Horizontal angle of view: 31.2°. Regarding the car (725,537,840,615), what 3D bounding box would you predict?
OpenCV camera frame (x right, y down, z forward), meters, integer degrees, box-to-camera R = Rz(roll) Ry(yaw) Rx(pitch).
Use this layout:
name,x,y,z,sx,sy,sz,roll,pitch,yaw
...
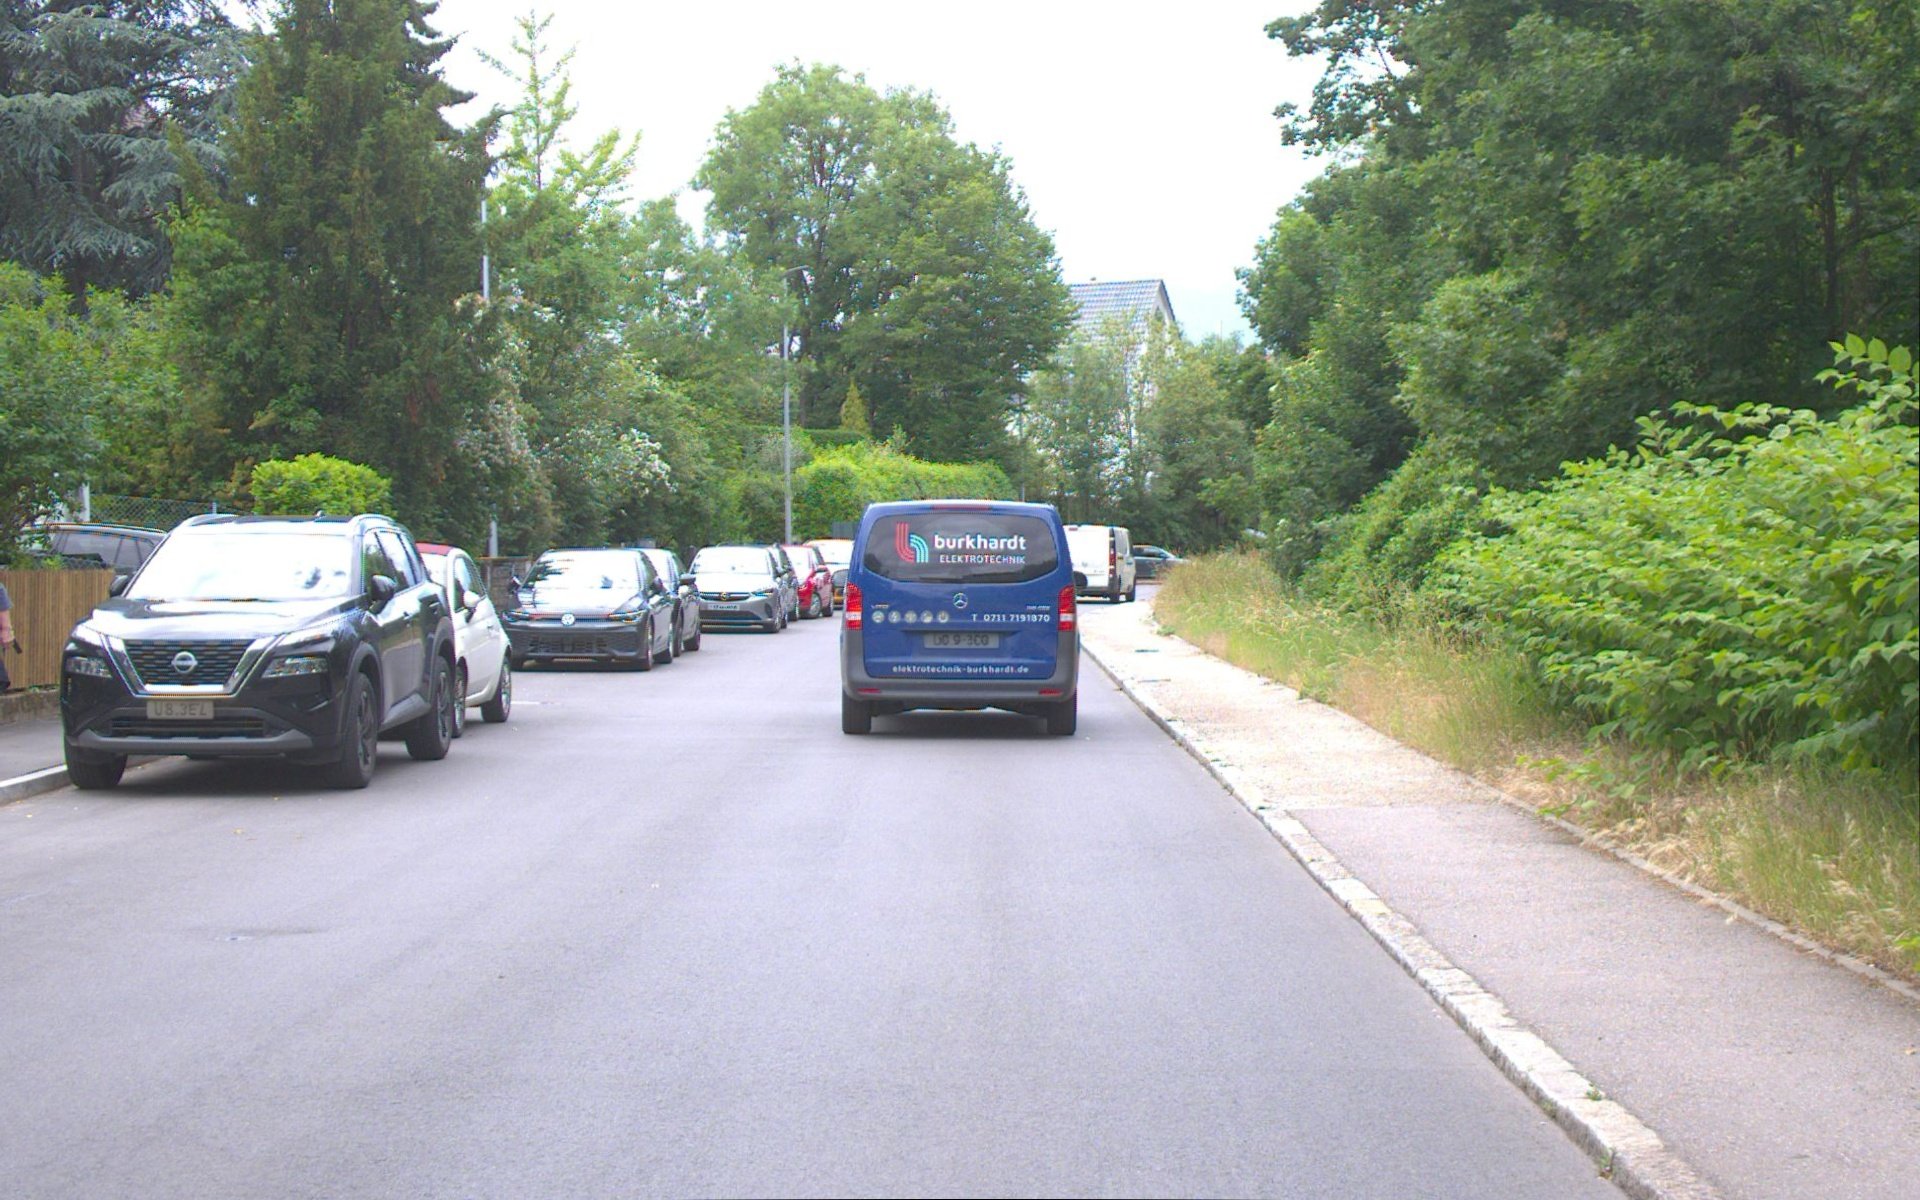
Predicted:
name,x,y,z,sx,sy,sz,roll,pitch,yaw
car,-3.532,-0.516,69.174,1.707,1.509,4.363,0,1,5

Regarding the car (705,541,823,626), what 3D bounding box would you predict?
name,x,y,z,sx,sy,sz,roll,pitch,yaw
car,-3.614,-0.330,63.966,1.707,1.509,4.495,0,1,3

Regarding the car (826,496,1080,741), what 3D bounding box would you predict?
name,x,y,z,sx,sy,sz,roll,pitch,yaw
car,-0.090,0.094,28.585,1.936,1.873,4.531,0,1,-1

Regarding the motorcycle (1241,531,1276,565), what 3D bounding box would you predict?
name,x,y,z,sx,sy,sz,roll,pitch,yaw
motorcycle,13.424,-2.328,154.534,0.810,1.480,2.893,1,1,21

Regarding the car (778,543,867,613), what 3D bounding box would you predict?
name,x,y,z,sx,sy,sz,roll,pitch,yaw
car,-3.053,-0.511,77.011,1.544,1.509,3.643,0,1,5

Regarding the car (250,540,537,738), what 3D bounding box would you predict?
name,x,y,z,sx,sy,sz,roll,pitch,yaw
car,-4.597,0.263,28.381,1.707,1.506,3.946,0,1,0

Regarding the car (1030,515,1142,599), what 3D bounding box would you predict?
name,x,y,z,sx,sy,sz,roll,pitch,yaw
car,3.250,-1.106,87.712,2.206,2.056,6.133,0,1,8

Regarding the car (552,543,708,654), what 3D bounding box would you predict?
name,x,y,z,sx,sy,sz,roll,pitch,yaw
car,-4.433,-0.052,46.688,1.707,1.411,4.132,0,1,0

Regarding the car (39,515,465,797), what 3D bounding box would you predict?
name,x,y,z,sx,sy,sz,roll,pitch,yaw
car,-4.489,0.286,22.451,1.792,1.658,4.392,0,1,1

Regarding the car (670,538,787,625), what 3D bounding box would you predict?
name,x,y,z,sx,sy,sz,roll,pitch,yaw
car,-3.910,-0.342,58.658,1.707,1.405,4.161,0,1,0

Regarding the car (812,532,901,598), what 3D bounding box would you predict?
name,x,y,z,sx,sy,sz,roll,pitch,yaw
car,-2.430,-0.844,81.476,1.588,1.509,3.589,0,1,7

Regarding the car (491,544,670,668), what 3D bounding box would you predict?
name,x,y,z,sx,sy,sz,roll,pitch,yaw
car,-4.546,0.037,41.655,1.707,1.411,4.150,0,1,0

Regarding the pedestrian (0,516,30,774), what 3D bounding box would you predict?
name,x,y,z,sx,sy,sz,roll,pitch,yaw
pedestrian,-6.225,0.271,21.159,0.769,1.569,0.820,0,1,1
